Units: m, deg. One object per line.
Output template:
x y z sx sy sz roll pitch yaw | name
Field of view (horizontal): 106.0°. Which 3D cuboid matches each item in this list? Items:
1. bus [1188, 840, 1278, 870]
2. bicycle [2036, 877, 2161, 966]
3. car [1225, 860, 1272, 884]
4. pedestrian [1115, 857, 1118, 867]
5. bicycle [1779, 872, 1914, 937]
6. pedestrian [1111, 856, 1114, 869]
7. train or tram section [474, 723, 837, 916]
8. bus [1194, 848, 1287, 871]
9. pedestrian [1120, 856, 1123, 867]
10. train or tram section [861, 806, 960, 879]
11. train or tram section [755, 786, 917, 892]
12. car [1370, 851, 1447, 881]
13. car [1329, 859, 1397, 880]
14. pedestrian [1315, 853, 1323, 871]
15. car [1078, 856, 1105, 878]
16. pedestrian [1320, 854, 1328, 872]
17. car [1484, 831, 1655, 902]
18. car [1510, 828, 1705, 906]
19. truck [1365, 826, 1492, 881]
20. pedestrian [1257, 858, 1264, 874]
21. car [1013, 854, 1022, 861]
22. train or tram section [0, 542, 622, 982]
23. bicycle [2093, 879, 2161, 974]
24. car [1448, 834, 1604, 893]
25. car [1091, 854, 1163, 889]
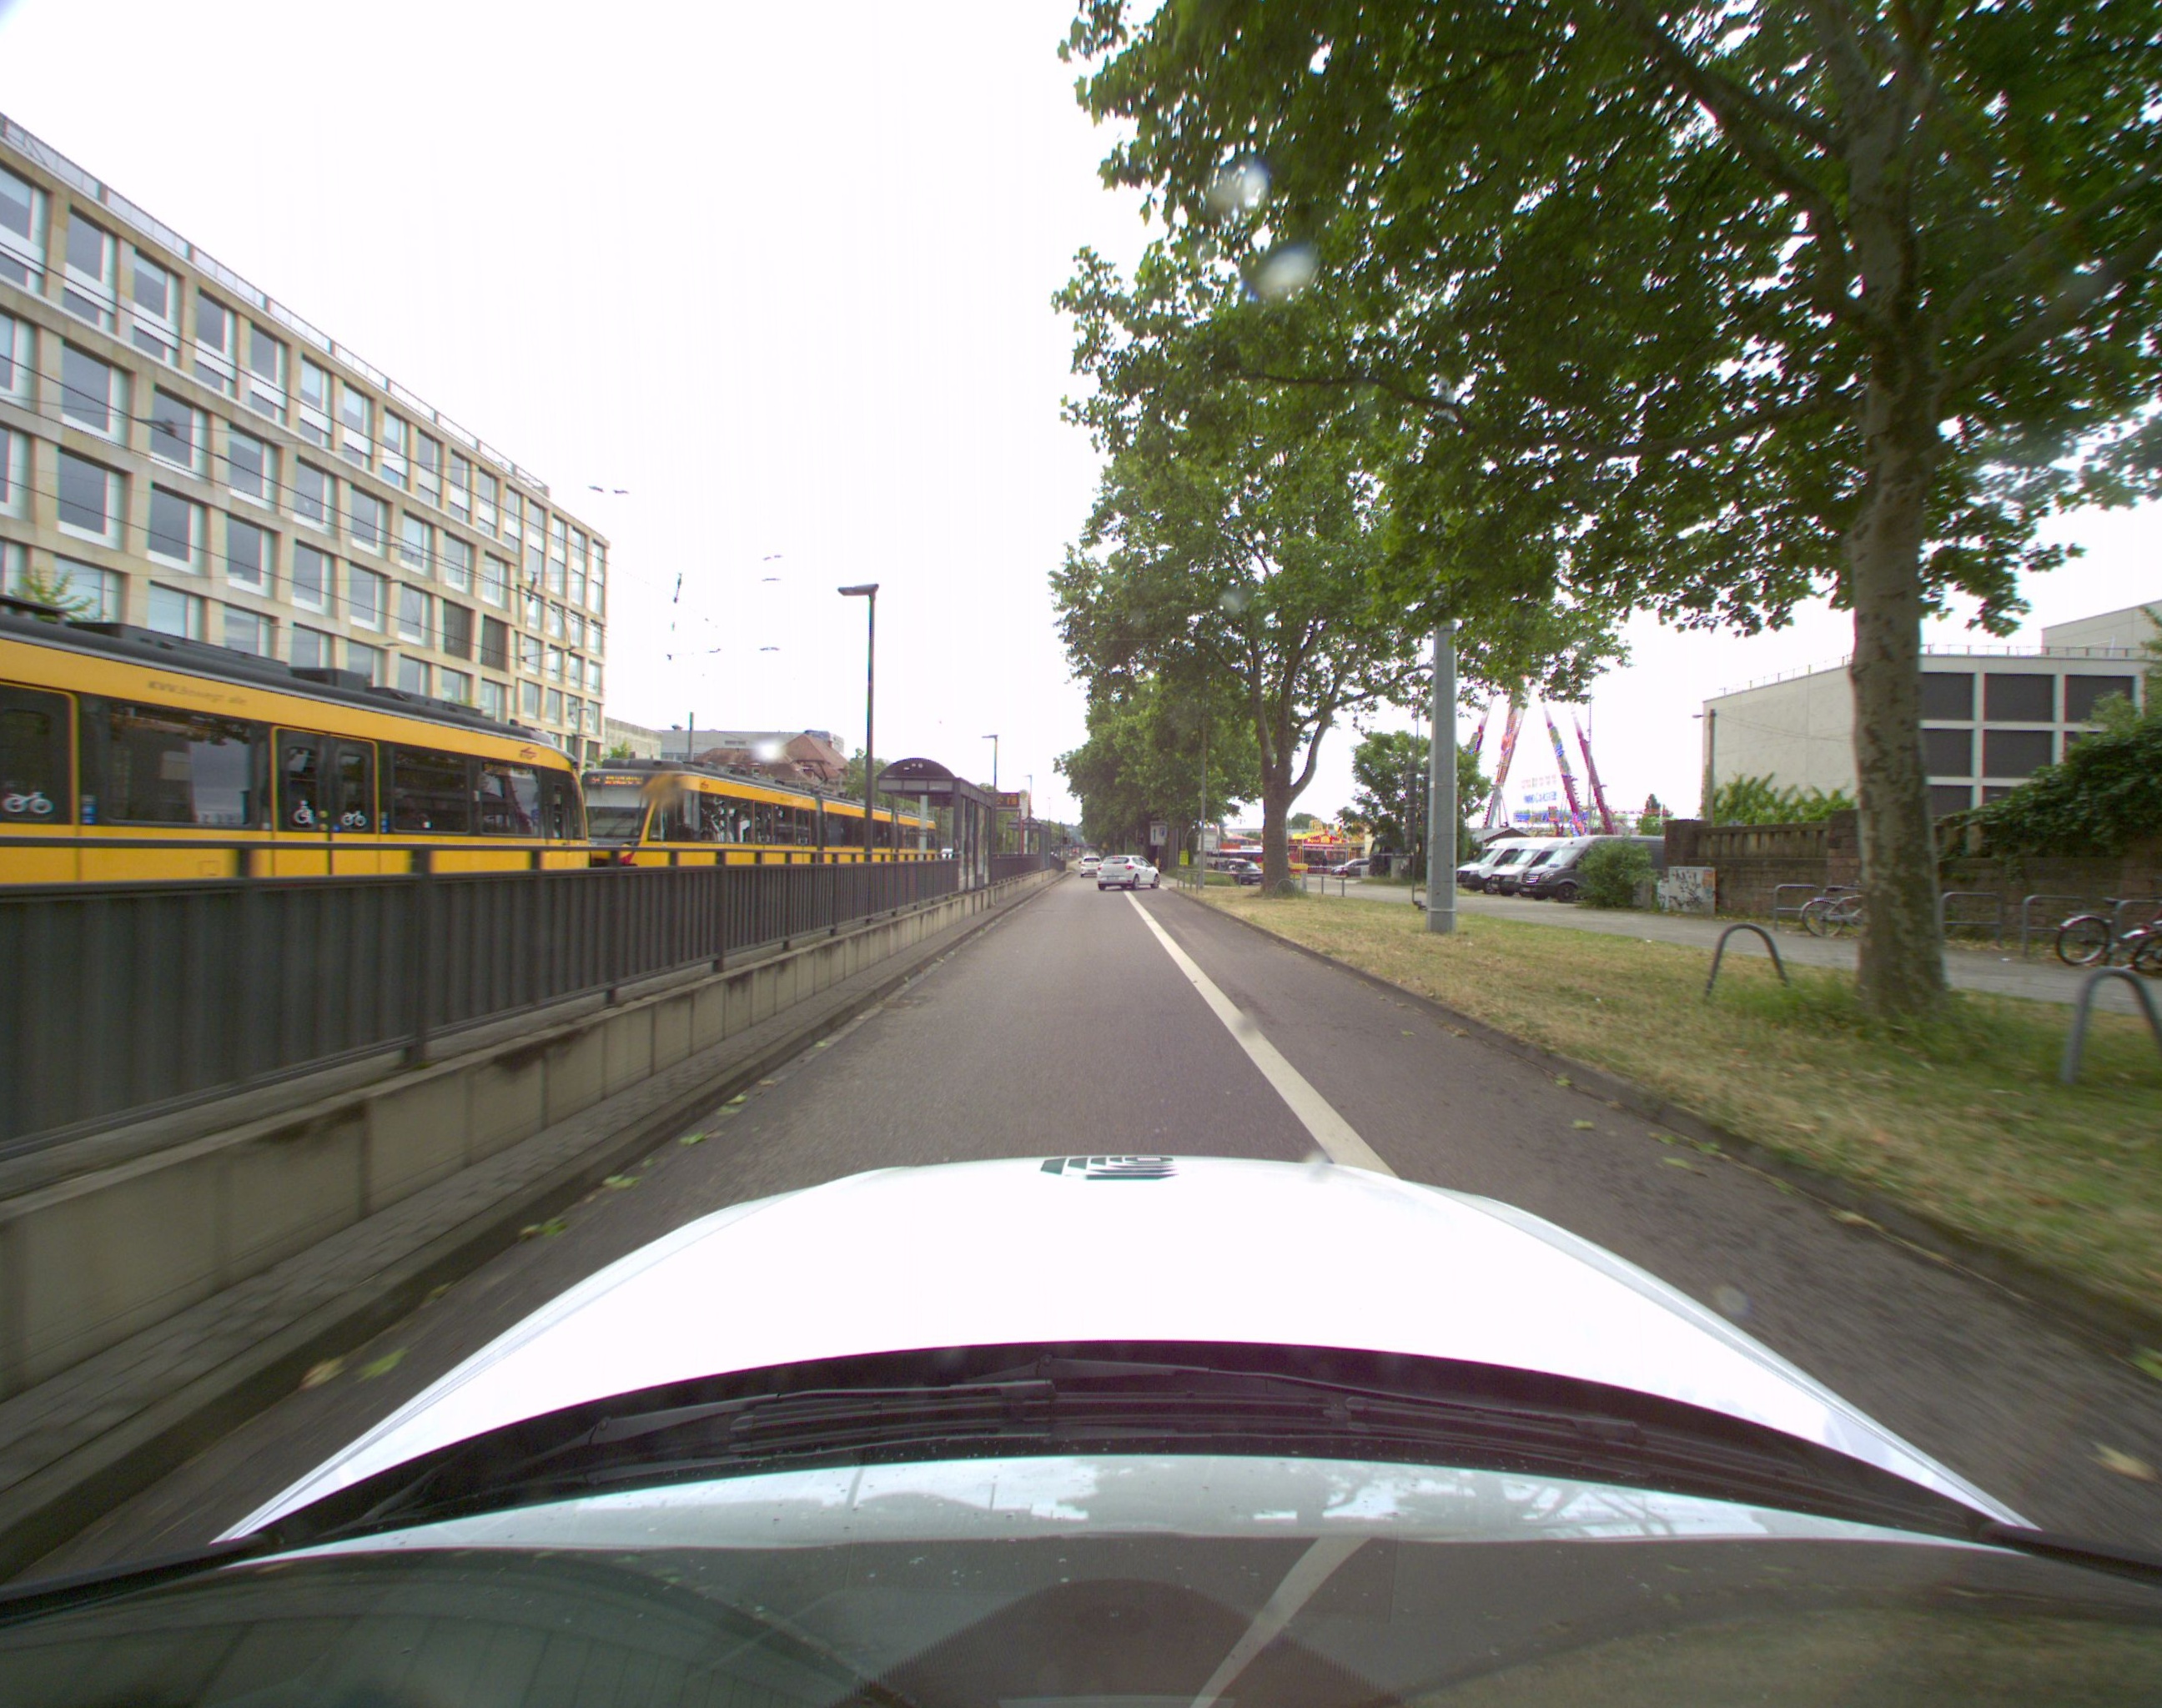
16.182 0.102 86.875 9.253 2.960 1.998 1 -1 -2 | bus
13.676 0.858 10.567 1.969 1.095 0.549 -1 -1 -2 | bicycle
10.260 1.077 50.149 1.859 1.430 3.995 1 -1 -3 | car
5.021 1.092 114.049 0.394 1.444 0.564 1 -1 6 | pedestrian
13.611 0.887 14.509 1.916 1.091 0.549 -1 -1 -2 | bicycle
5.076 1.337 130.770 0.393 2.014 0.404 1 -1 16 | pedestrian
-11.514 -0.687 25.199 3.169 4.179 14.735 1 -1 1 | train or tram section
16.345 0.542 83.665 9.253 2.227 1.998 1 -1 -2 | bus
5.708 1.058 114.034 0.394 1.585 0.538 1 -1 4 | pedestrian
-11.004 -0.613 54.625 3.169 4.179 14.735 1 -1 1 | train or tram section
-11.281 -0.535 39.921 3.169 4.179 14.735 1 -1 1 | train or tram section
22.635 0.823 56.385 4.560 2.013 1.999 0 0 -1 | car
21.605 1.190 62.557 4.560 1.575 1.999 1 -1 -1 | car
23.202 0.781 79.355 0.523 1.687 0.491 1 -1 -16 | pedestrian
0.785 0.892 58.339 1.834 1.552 4.002 0 0 2 | car
23.808 0.885 79.766 0.523 1.687 0.491 1 -1 -16 | pedestrian
20.102 0.513 33.678 5.766 2.535 2.039 3 -1 0 | car
19.574 0.446 30.494 5.762 2.522 2.172 3 0 2 | car
25.294 -0.026 59.474 8.166 3.822 2.599 1 -1 -1 | truck
17.036 1.153 77.366 0.491 1.463 0.523 1 -1 -2 | pedestrian
-16.800 1.047 215.605 1.989 1.794 3.996 1 -1 -3 | car
-11.799 -0.856 11.010 3.169 4.179 13.622 1 -1 1 | train or tram section
13.607 0.855 9.929 1.895 1.097 0.549 -1 -1 -2 | bicycle
20.124 0.431 37.032 6.006 2.555 2.099 1 -1 -1 | car
2.123 0.778 36.456 1.868 1.453 4.022 1 -1 24 | car
